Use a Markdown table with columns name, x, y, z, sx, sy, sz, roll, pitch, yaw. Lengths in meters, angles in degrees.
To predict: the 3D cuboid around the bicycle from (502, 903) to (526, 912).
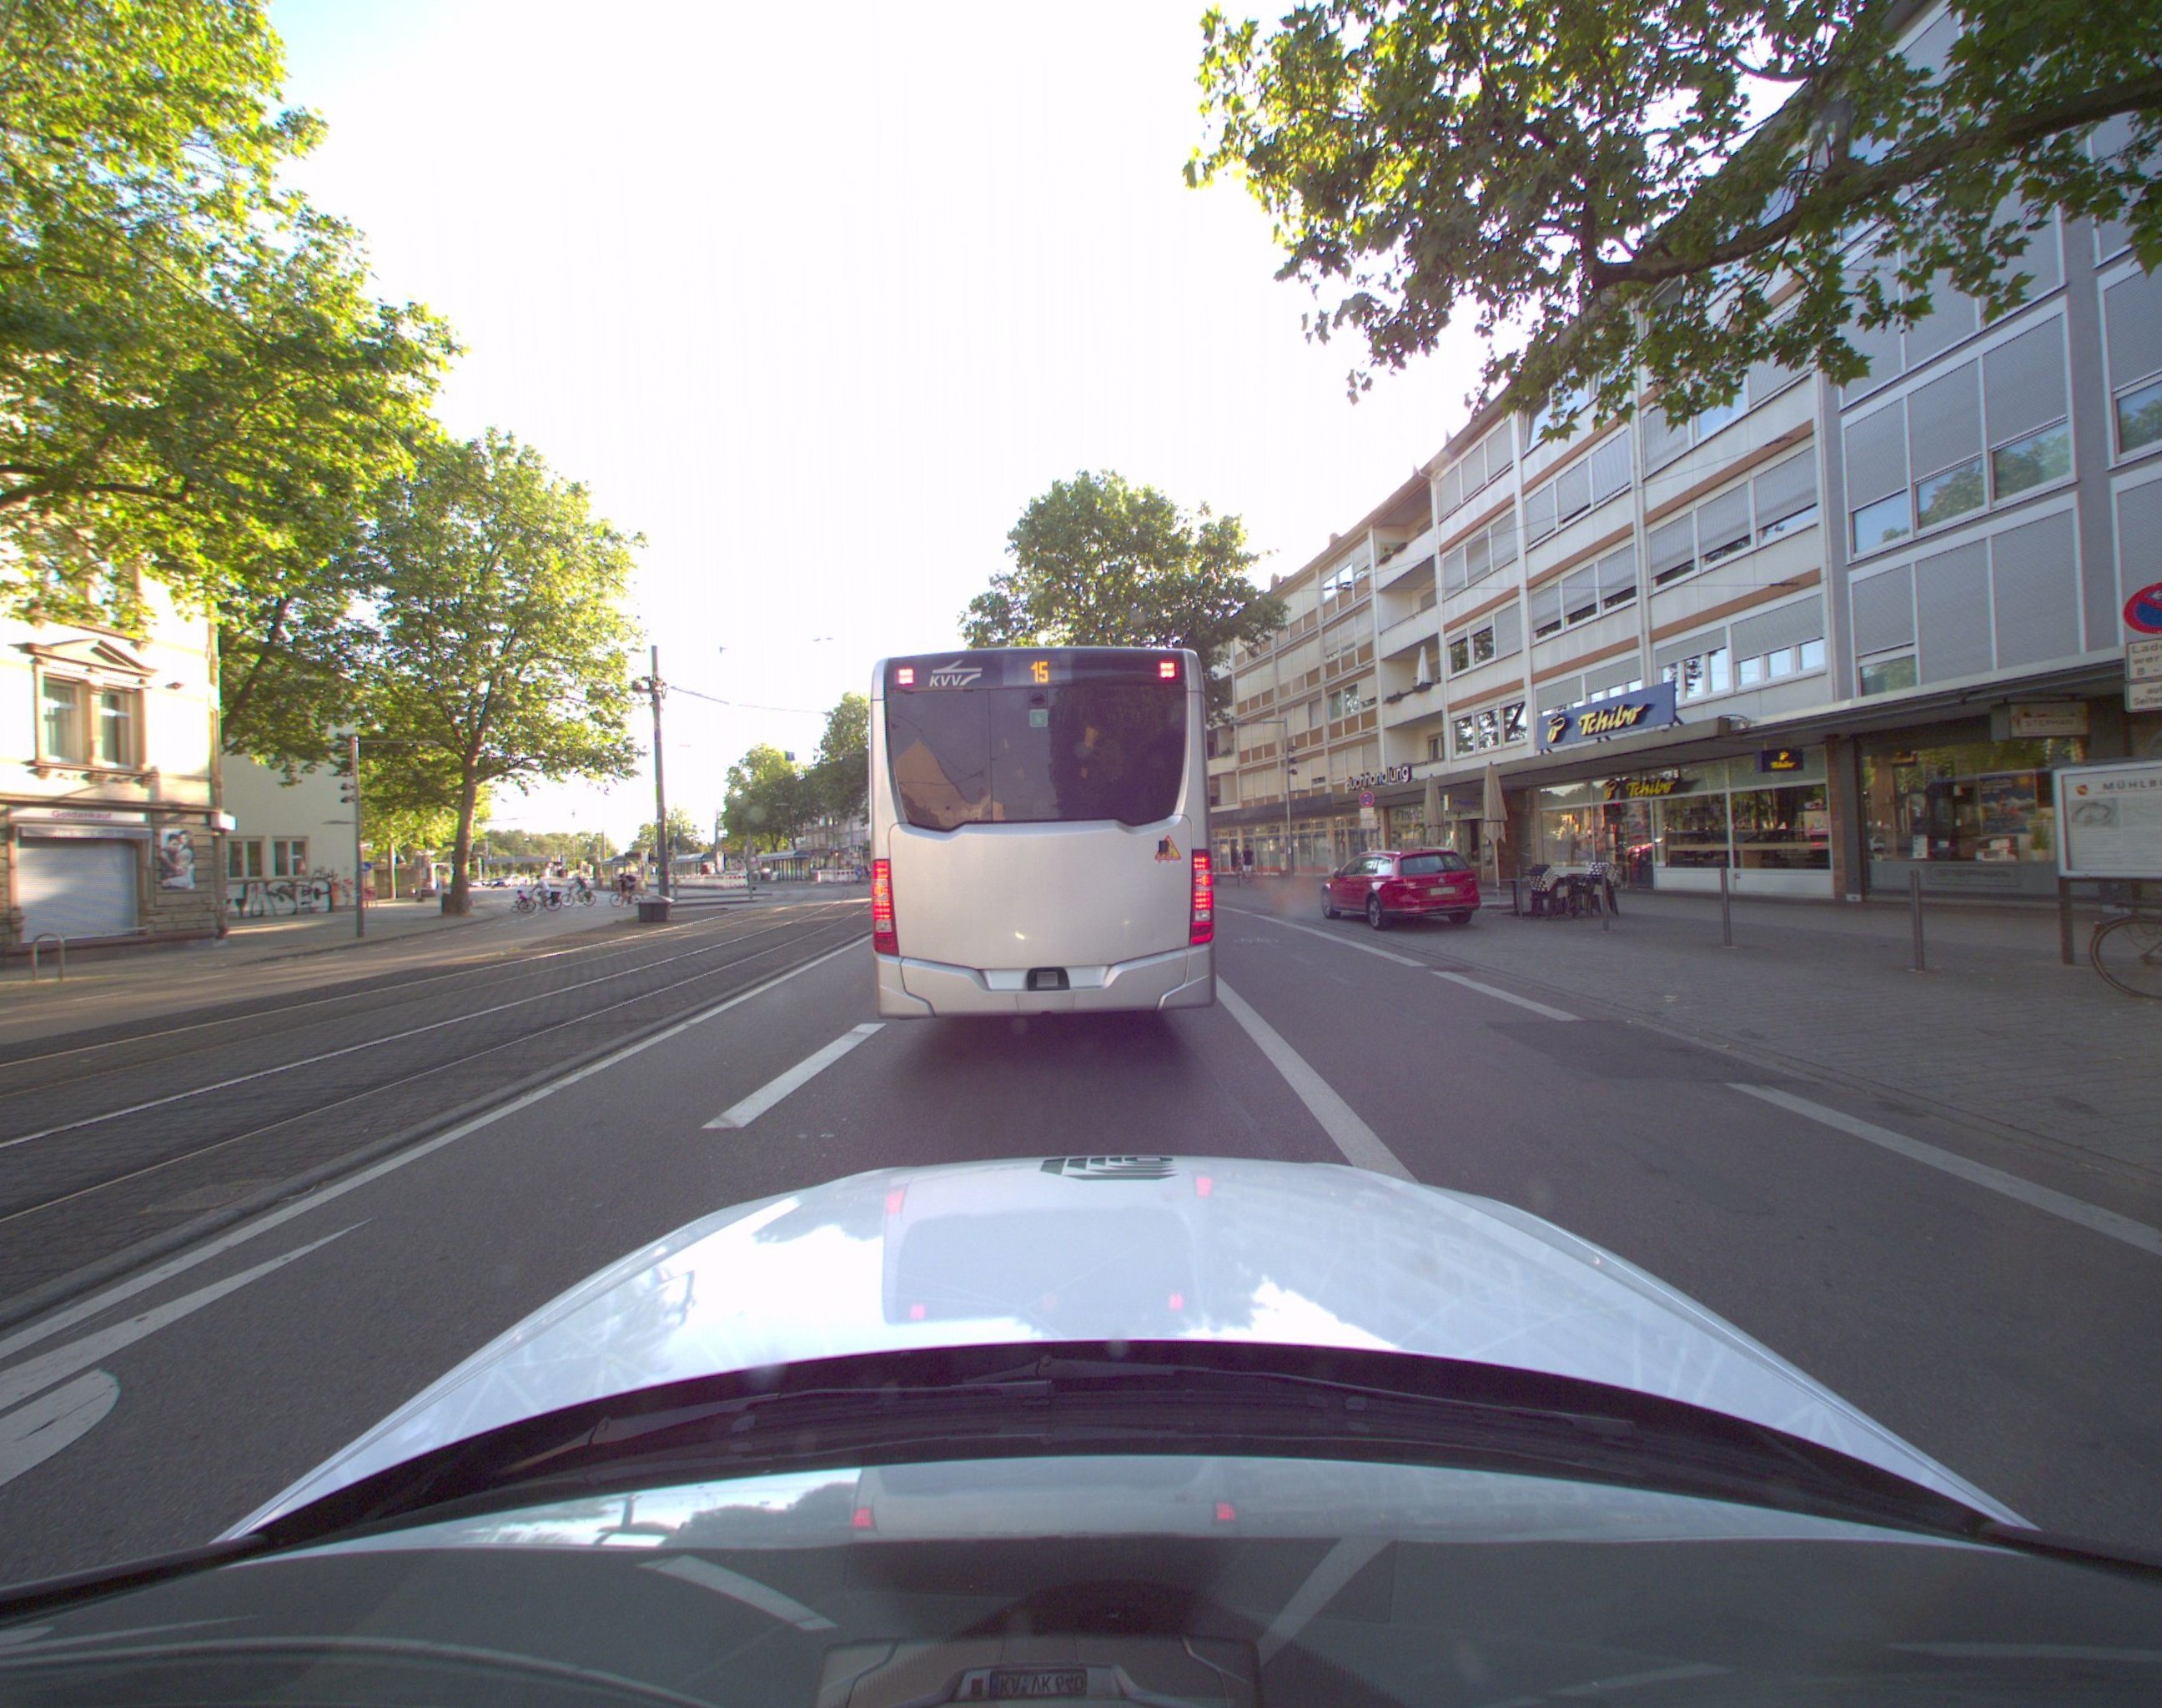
| name | x | y | z | sx | sy | sz | roll | pitch | yaw |
| --- | --- | --- | --- | --- | --- | --- | --- | --- | --- |
| bicycle | -28.739 | 2.724 | 41.290 | 0.960 | 0.399 | 0.288 | -2 | 0 | -19 |

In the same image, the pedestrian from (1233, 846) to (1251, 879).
| name | x | y | z | sx | sy | sz | roll | pitch | yaw |
| --- | --- | --- | --- | --- | --- | --- | --- | --- | --- |
| pedestrian | 7.976 | 0.407 | 40.354 | 0.646 | 1.581 | 0.557 | -2 | -1 | -14 |

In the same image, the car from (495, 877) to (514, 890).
| name | x | y | z | sx | sy | sz | roll | pitch | yaw |
| --- | --- | --- | --- | --- | --- | --- | --- | --- | --- |
| car | -80.853 | 4.156 | 114.231 | 2.008 | 1.640 | 3.958 | -2 | 0 | -33 |

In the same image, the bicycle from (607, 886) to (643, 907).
| name | x | y | z | sx | sy | sz | roll | pitch | yaw |
| --- | --- | --- | --- | --- | --- | --- | --- | --- | --- |
| bicycle | -23.087 | 2.143 | 41.232 | 1.509 | 0.985 | 0.448 | -2 | -1 | -18 |

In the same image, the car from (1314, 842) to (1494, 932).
| name | x | y | z | sx | sy | sz | roll | pitch | yaw |
| --- | --- | --- | --- | --- | --- | --- | --- | --- | --- |
| car | 6.366 | 0.598 | 16.637 | 1.765 | 1.482 | 4.300 | -4 | 0 | -2 |

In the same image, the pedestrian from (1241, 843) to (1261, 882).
| name | x | y | z | sx | sy | sz | roll | pitch | yaw |
| --- | --- | --- | --- | --- | --- | --- | --- | --- | --- |
| pedestrian | 7.665 | 0.374 | 36.696 | 0.646 | 1.717 | 0.557 | -2 | -1 | -14 |

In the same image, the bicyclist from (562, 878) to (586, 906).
| name | x | y | z | sx | sy | sz | roll | pitch | yaw |
| --- | --- | --- | --- | --- | --- | --- | --- | --- | --- |
| bicyclist | -27.432 | 2.043 | 44.061 | 0.840 | 1.444 | 0.753 | -2 | -1 | -13 |

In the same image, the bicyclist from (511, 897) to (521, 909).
| name | x | y | z | sx | sy | sz | roll | pitch | yaw |
| --- | --- | --- | --- | --- | --- | --- | --- | --- | --- |
| bicyclist | -28.673 | 2.498 | 41.319 | 0.309 | 0.590 | 0.278 | -2 | -1 | -19 |

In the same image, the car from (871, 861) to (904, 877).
| name | x | y | z | sx | sy | sz | roll | pitch | yaw |
| --- | --- | --- | --- | --- | --- | --- | --- | --- | --- |
| car | -21.107 | 1.632 | 88.777 | 2.010 | 1.792 | 3.954 | 0 | -1 | -39 |

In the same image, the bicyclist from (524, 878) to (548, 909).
| name | x | y | z | sx | sy | sz | roll | pitch | yaw |
| --- | --- | --- | --- | --- | --- | --- | --- | --- | --- |
| bicyclist | -26.942 | 1.954 | 40.290 | 0.843 | 1.444 | 0.622 | -2 | -1 | -23 |

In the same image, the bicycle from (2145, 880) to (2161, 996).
| name | x | y | z | sx | sy | sz | roll | pitch | yaw |
| --- | --- | --- | --- | --- | --- | --- | --- | --- | --- |
| bicycle | 9.149 | 0.661 | 5.852 | 0.391 | 0.919 | 1.766 | -4 | 0 | -18 |

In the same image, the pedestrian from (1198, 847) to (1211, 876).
| name | x | y | z | sx | sy | sz | roll | pitch | yaw |
| --- | --- | --- | --- | --- | --- | --- | --- | --- | --- |
| pedestrian | 7.257 | 0.433 | 47.846 | 0.536 | 1.648 | 0.612 | -2 | -1 | -15 |

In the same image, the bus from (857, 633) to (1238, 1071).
| name | x | y | z | sx | sy | sz | roll | pitch | yaw |
| --- | --- | --- | --- | --- | --- | --- | --- | --- | --- |
| bus | -0.096 | 0.008 | 10.713 | 2.621 | 3.028 | 10.000 | -1 | 0 | 2 |

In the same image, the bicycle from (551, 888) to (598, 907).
| name | x | y | z | sx | sy | sz | roll | pitch | yaw |
| --- | --- | --- | --- | --- | --- | --- | --- | --- | --- |
| bicycle | -27.388 | 2.360 | 44.066 | 2.020 | 0.937 | 0.757 | -2 | -1 | -13 |

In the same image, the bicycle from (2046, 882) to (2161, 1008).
| name | x | y | z | sx | sy | sz | roll | pitch | yaw |
| --- | --- | --- | --- | --- | --- | --- | --- | --- | --- |
| bicycle | 8.623 | 0.705 | 6.088 | 0.391 | 0.939 | 1.766 | -4 | 0 | -18 |

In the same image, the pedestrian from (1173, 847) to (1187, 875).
| name | x | y | z | sx | sy | sz | roll | pitch | yaw |
| --- | --- | --- | --- | --- | --- | --- | --- | --- | --- |
| pedestrian | 6.001 | 0.445 | 49.385 | 0.536 | 1.648 | 0.612 | -2 | -1 | -15 |

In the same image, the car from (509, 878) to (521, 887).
| name | x | y | z | sx | sy | sz | roll | pitch | yaw |
| --- | --- | --- | --- | --- | --- | --- | --- | --- | --- |
| car | -111.624 | 5.652 | 160.659 | 1.858 | 1.683 | 3.677 | -4 | 1 | -35 |

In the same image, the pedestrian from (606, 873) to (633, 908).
| name | x | y | z | sx | sy | sz | roll | pitch | yaw |
| --- | --- | --- | --- | --- | --- | --- | --- | --- | --- |
| pedestrian | -22.524 | 1.782 | 39.749 | 0.994 | 1.686 | 0.642 | -1 | -2 | -10 |

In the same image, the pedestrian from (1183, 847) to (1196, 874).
| name | x | y | z | sx | sy | sz | roll | pitch | yaw |
| --- | --- | --- | --- | --- | --- | --- | --- | --- | --- |
| pedestrian | 6.664 | 0.420 | 49.984 | 0.536 | 1.648 | 0.612 | -2 | -1 | -15 |

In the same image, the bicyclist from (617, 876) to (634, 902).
| name | x | y | z | sx | sy | sz | roll | pitch | yaw |
| --- | --- | --- | --- | --- | --- | --- | --- | --- | --- |
| bicyclist | -23.076 | 1.772 | 41.246 | 0.640 | 1.293 | 0.454 | -2 | -1 | -17 |

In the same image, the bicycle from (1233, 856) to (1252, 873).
| name | x | y | z | sx | sy | sz | roll | pitch | yaw |
| --- | --- | --- | --- | --- | --- | --- | --- | --- | --- |
| bicycle | 9.186 | 0.579 | 46.320 | 0.413 | 0.945 | 1.431 | -2 | 0 | -18 |

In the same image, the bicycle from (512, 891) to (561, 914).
| name | x | y | z | sx | sy | sz | roll | pitch | yaw |
| --- | --- | --- | --- | --- | --- | --- | --- | --- | --- |
| bicycle | -26.914 | 2.372 | 40.288 | 1.916 | 1.005 | 0.615 | -2 | -1 | -23 |
